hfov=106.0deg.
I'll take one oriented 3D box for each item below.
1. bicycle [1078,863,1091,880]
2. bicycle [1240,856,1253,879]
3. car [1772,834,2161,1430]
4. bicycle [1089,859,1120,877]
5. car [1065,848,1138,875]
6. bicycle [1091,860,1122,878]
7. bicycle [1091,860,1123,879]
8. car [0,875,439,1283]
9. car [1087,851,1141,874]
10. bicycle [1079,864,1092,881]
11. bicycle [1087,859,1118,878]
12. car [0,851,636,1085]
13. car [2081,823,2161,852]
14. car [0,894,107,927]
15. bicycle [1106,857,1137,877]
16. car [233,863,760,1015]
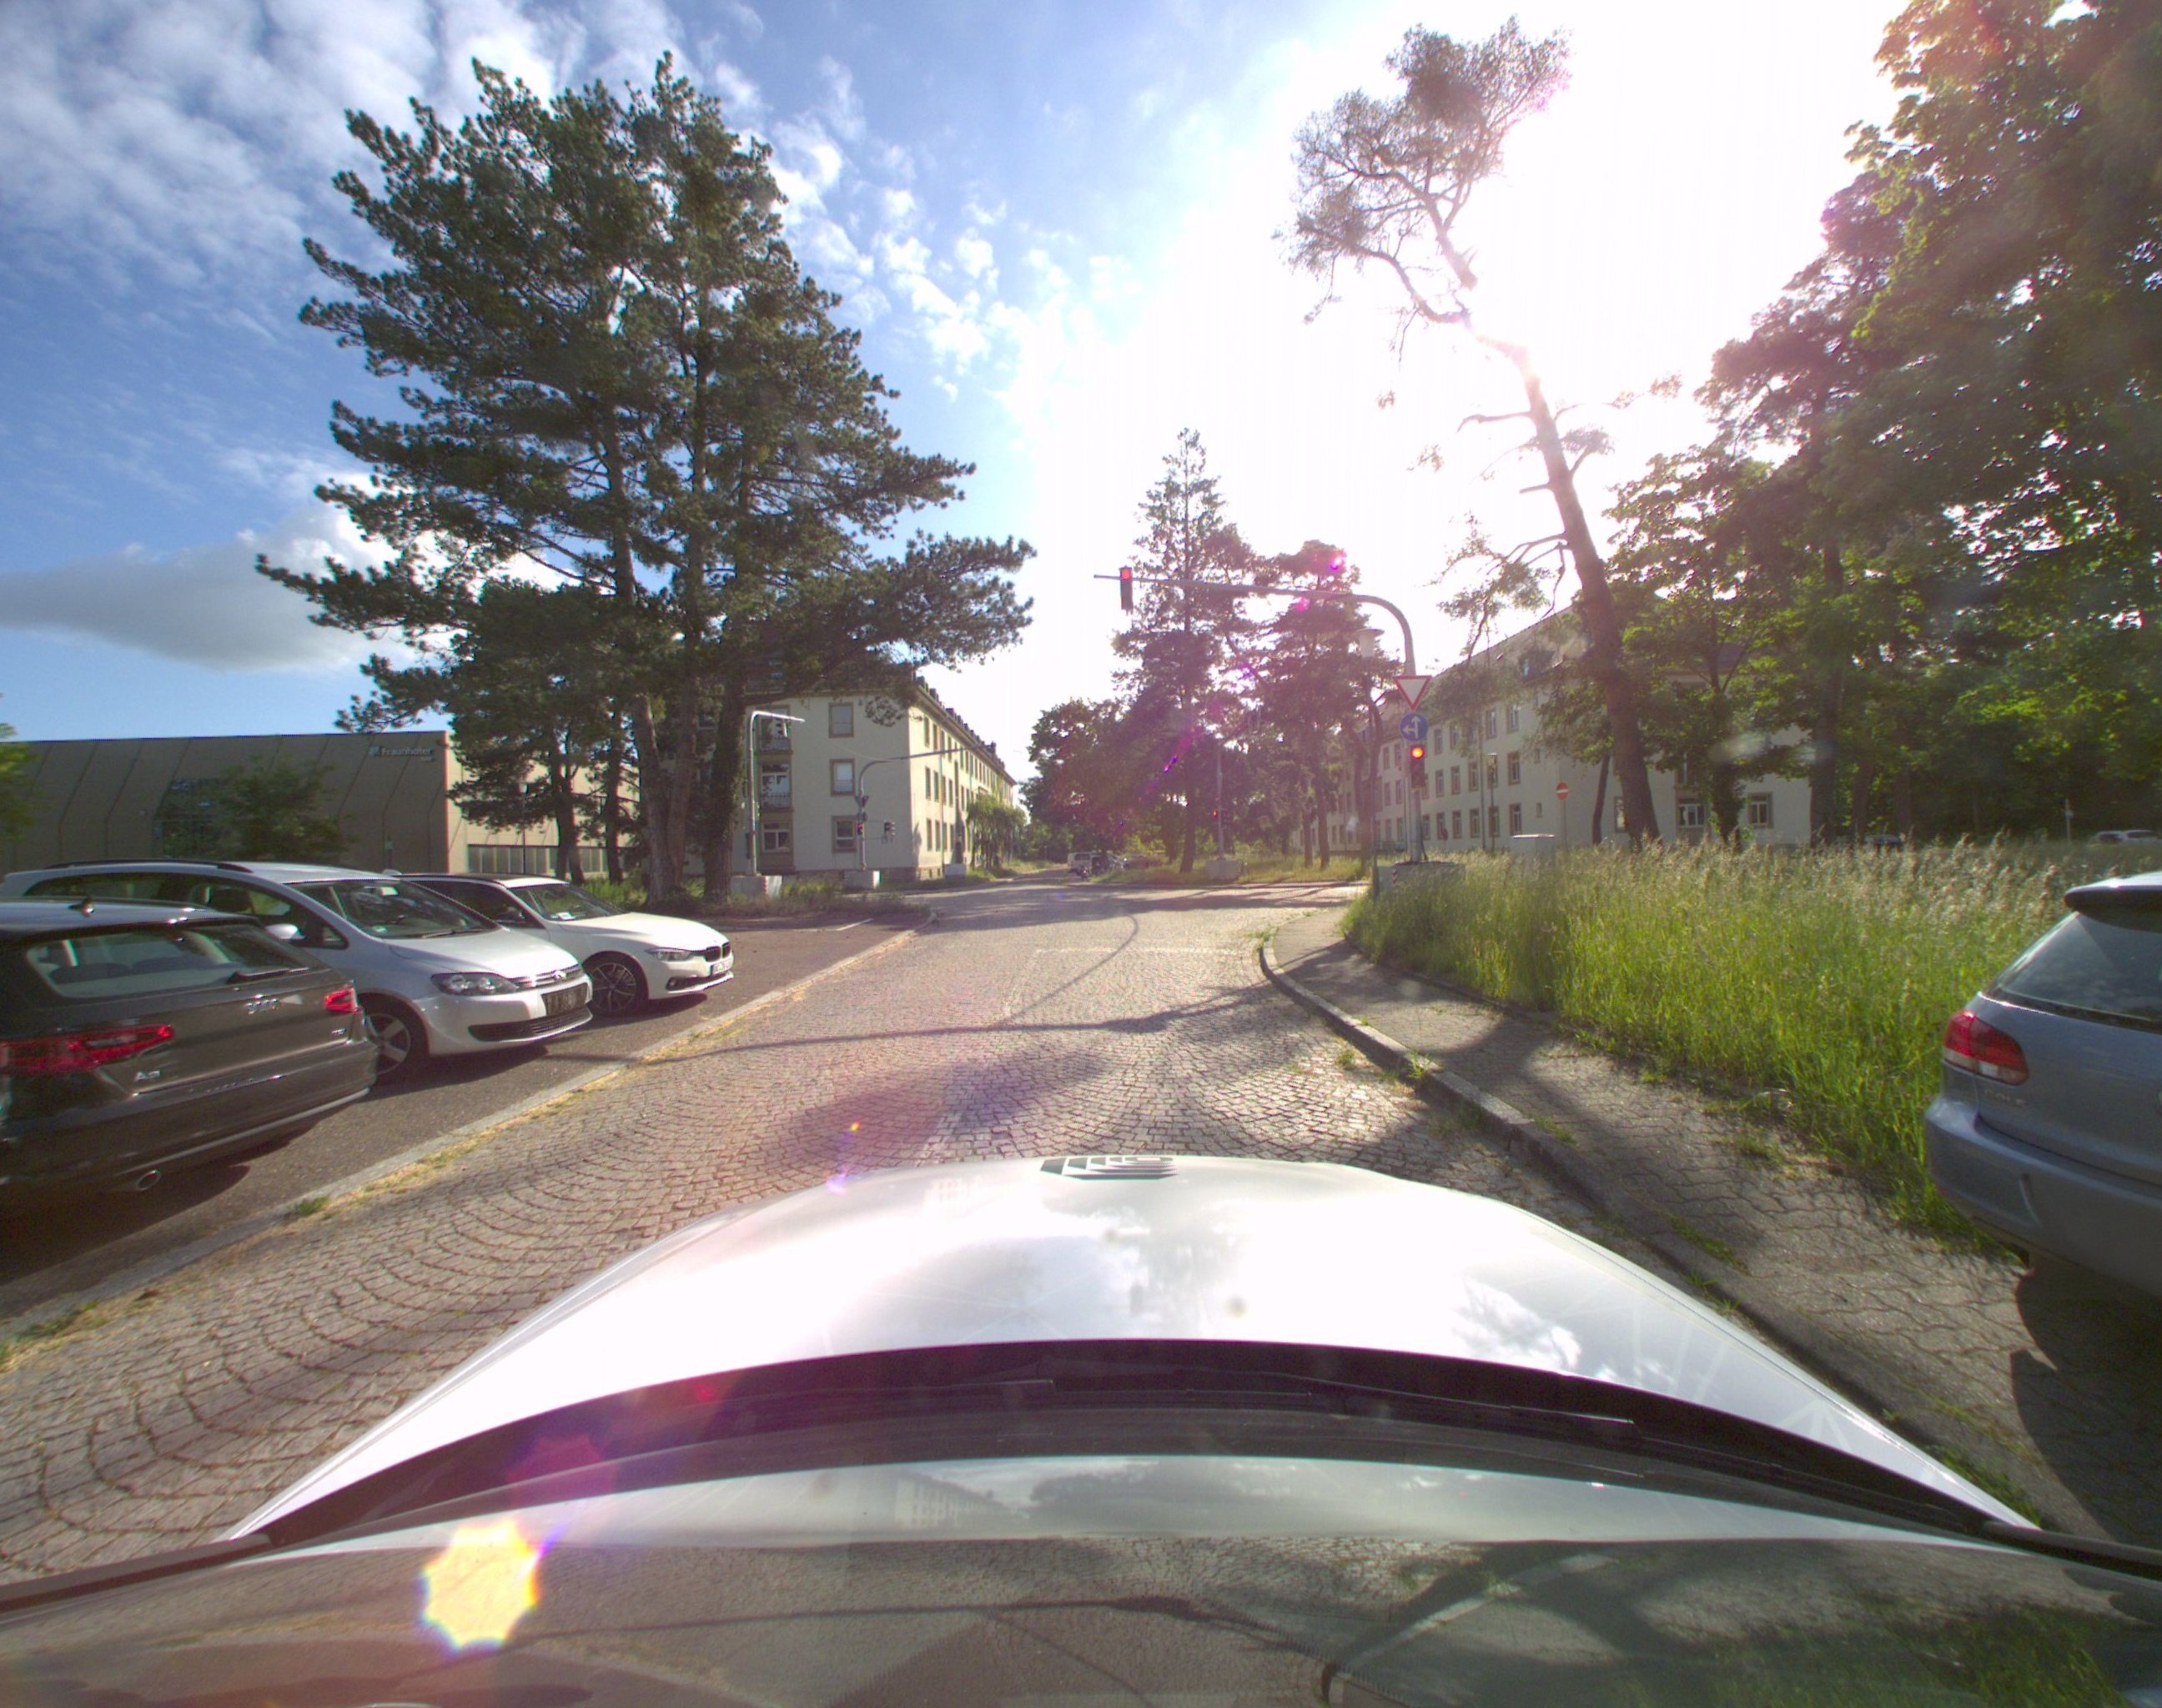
[{"bbox_3d":[0.217,1.068,49.398,0.693,0.971,1.859,-1,0,-1],"label":"bicycle"},{"bbox_3d":[7.882,0.634,38.806,0.464,1.080,1.175,-2,-1,4],"label":"bicycle"},{"bbox_3d":[4.680,0.629,2.205,4.002,1.460,1.871,-2,0,0],"label":"car"},{"bbox_3d":[1.563,0.901,54.063,1.937,1.129,0.646,-2,0,-5],"label":"bicycle"},{"bbox_3d":[1.704,0.615,68.883,5.924,2.013,2.470,-2,0,-7],"label":"car"},{"bbox_3d":[1.580,0.937,50.945,1.850,1.031,0.749,-2,0,-3],"label":"bicycle"},{"bbox_3d":[1.645,0.981,51.742,1.936,1.129,0.749,-2,0,-3],"label":"bicycle"},{"bbox_3d":[-5.697,0.868,3.921,3.785,1.471,1.687,1,0,-1],"label":"car"},{"bbox_3d":[2.591,0.683,64.694,3.984,1.684,1.842,-2,0,-8],"label":"car"},{"bbox_3d":[0.261,1.066,47.454,0.693,0.971,1.859,-1,0,-1],"label":"bicycle"},{"bbox_3d":[1.390,0.947,52.959,1.951,1.129,0.642,-2,0,-27],"label":"bicycle"},{"bbox_3d":[-6.108,0.820,6.638,3.936,1.626,1.719,1,0,-4],"label":"car"},{"bbox_3d":[57.873,-0.924,44.639,3.978,1.464,1.845,-2,0,-3],"label":"car"},{"bbox_3d":[-48.025,2.583,37.452,1.481,1.294,4.054,-2,0,3],"label":"car"},{"bbox_3d":[2.584,0.845,52.445,1.936,1.235,0.485,-2,0,-3],"label":"bicycle"},{"bbox_3d":[-6.238,0.881,9.128,4.529,1.467,1.751,1,0,-3],"label":"car"}]
